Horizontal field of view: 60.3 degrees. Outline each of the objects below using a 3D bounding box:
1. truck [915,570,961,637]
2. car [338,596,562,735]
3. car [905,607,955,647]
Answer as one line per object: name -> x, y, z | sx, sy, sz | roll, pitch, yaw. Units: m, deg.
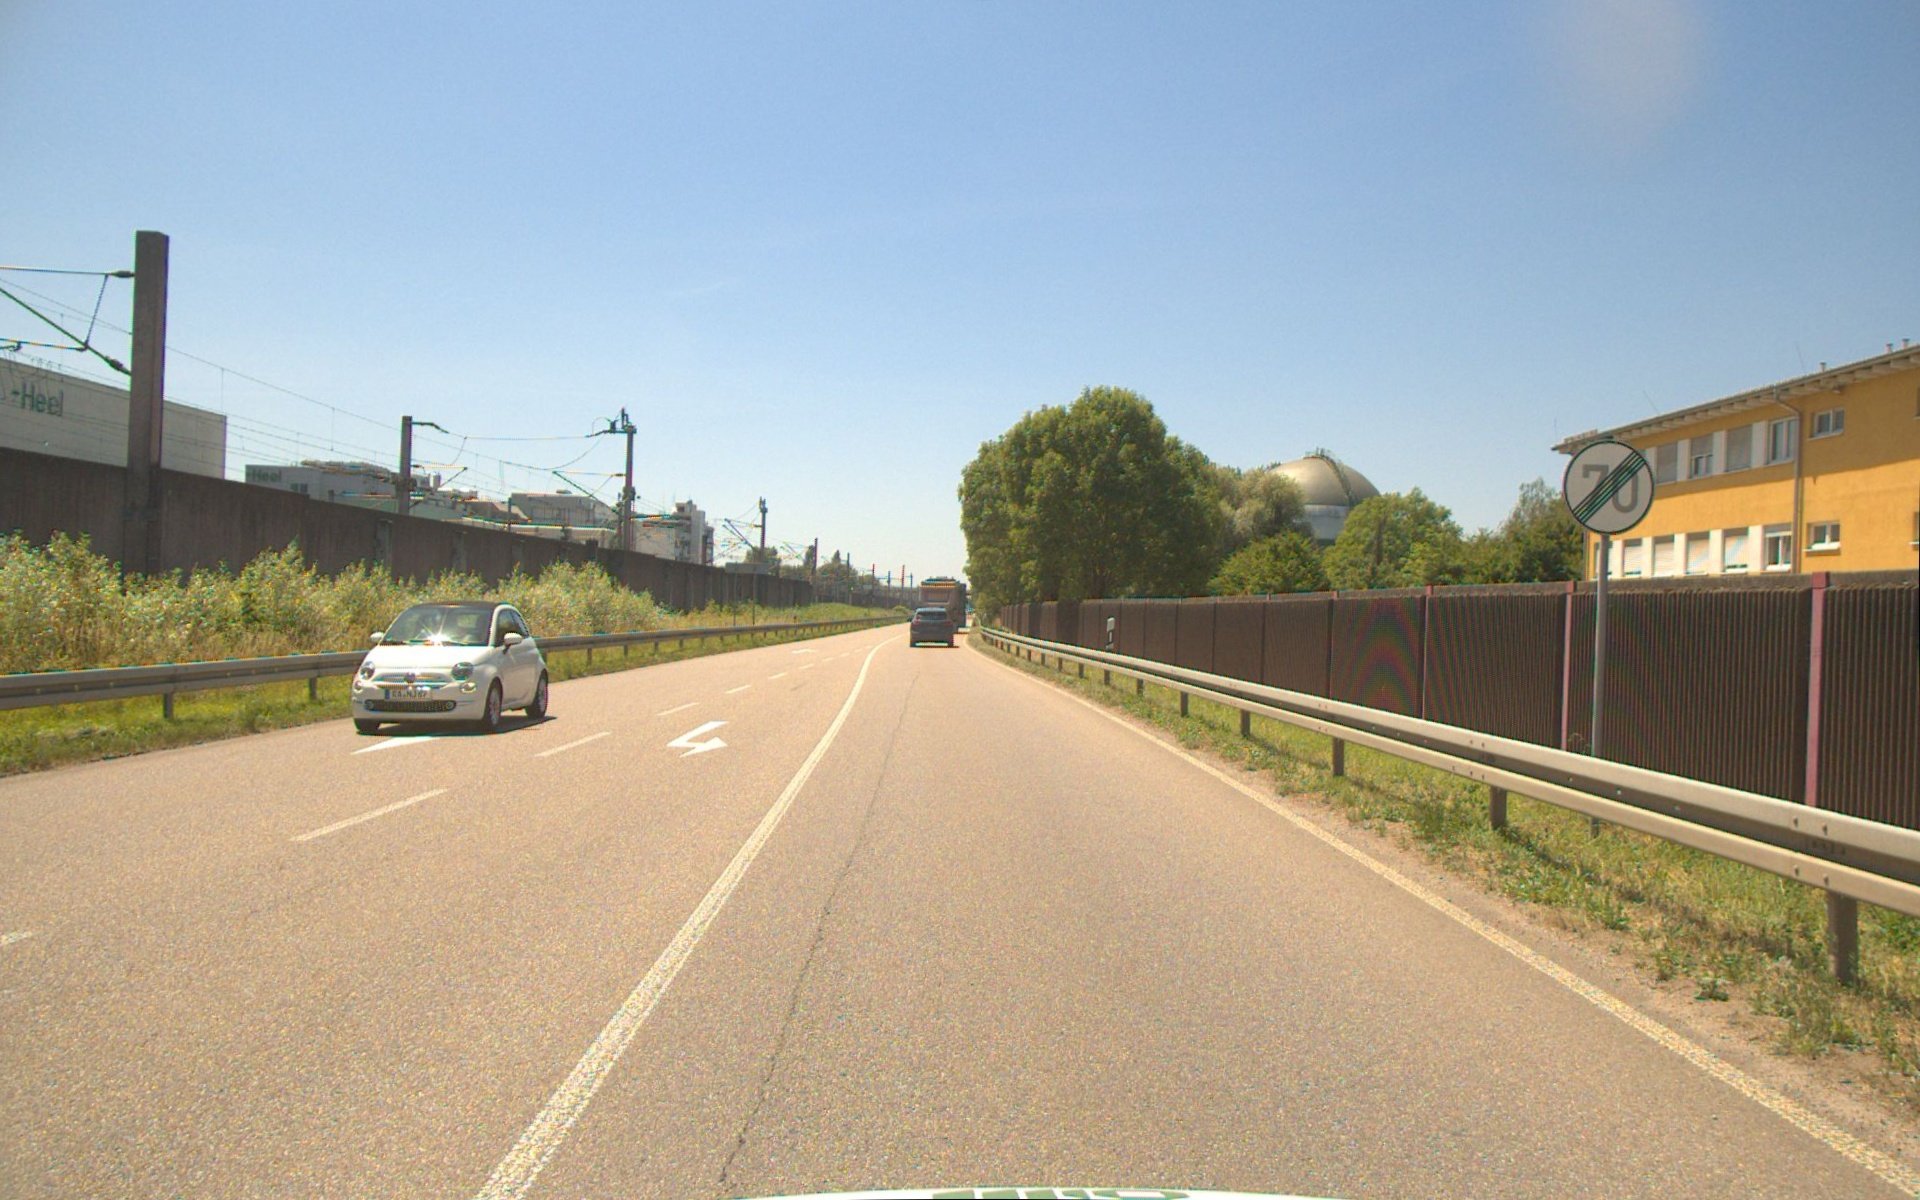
truck -> -1.444, 0.350, 112.057 | 2.934, 4.254, 11.805 | 1, -1, 0
car -> -6.143, 0.738, 20.331 | 1.638, 1.528, 3.721 | 1, 0, -1
car -> -1.215, 1.129, 67.723 | 1.953, 1.529, 3.999 | 2, -2, 0
